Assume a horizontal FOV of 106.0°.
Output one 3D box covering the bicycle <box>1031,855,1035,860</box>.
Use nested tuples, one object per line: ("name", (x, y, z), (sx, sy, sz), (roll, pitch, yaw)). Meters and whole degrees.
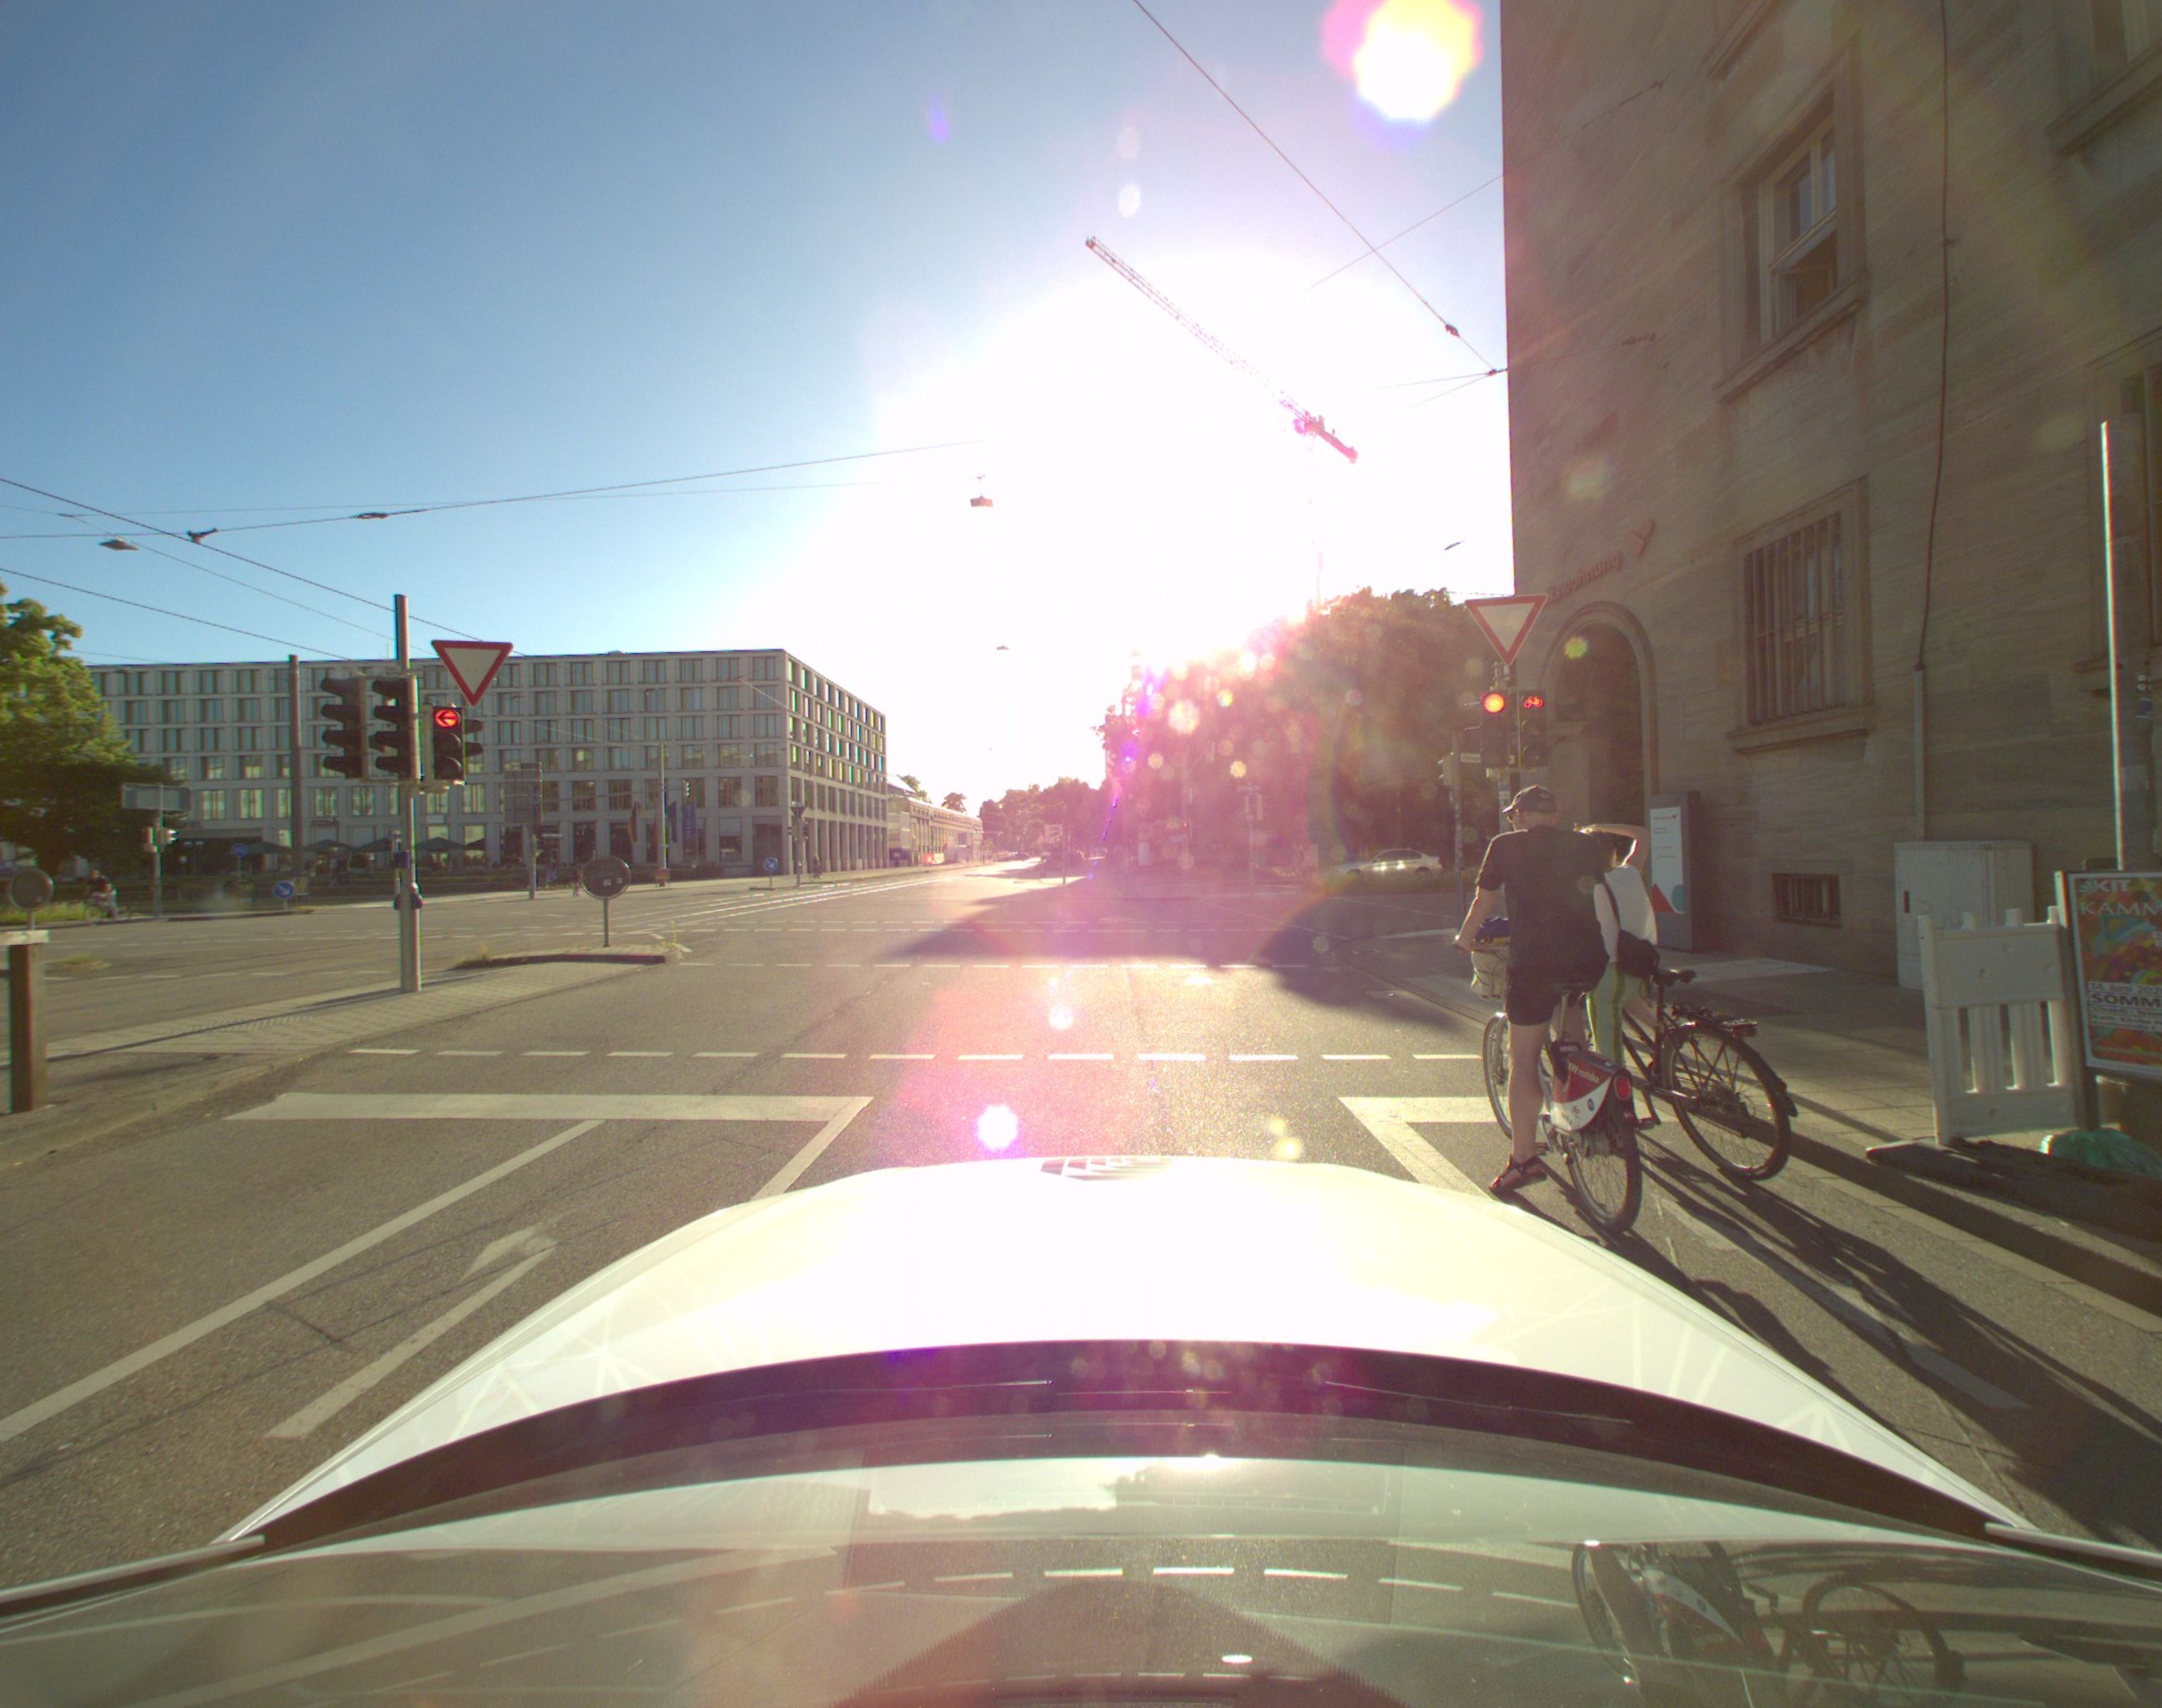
("bicycle", (-11.836, 0.871, 199.964), (0.748, 1.205, 3.108), (0, -1, 1))

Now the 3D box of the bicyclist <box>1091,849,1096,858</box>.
("bicyclist", (2.780, -0.191, 182.766), (0.891, 2.014, 0.746), (0, -1, -10))

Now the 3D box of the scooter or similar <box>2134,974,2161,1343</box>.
("scooter or similar", (3.388, 0.967, 1.916), (0.568, 1.149, 1.279), (-2, 0, 25))

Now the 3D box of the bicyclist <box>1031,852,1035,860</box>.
("bicyclist", (-11.835, 0.509, 199.980), (0.748, 1.920, 1.214), (0, -1, 1))

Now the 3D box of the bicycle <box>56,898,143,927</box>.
("bicycle", (-31.644, 1.880, 26.299), (0.532, 0.787, 1.853), (-2, 0, 2))

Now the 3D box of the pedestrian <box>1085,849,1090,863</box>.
("pedestrian", (0.786, 0.233, 97.789), (0.576, 1.689, 0.584), (-2, 0, -6))

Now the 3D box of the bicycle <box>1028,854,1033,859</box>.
("bicycle", (-12.080, 0.672, 195.215), (0.746, 1.205, 3.114), (0, -1, 7))

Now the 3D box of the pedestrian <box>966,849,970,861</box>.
("pedestrian", (-19.232, 0.160, 138.399), (0.584, 1.889, 0.479), (-1, -1, 9))

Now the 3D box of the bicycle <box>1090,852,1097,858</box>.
("bicycle", (2.796, 0.205, 182.720), (0.890, 1.219, 2.784), (0, -1, -9))

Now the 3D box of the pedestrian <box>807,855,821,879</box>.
("pedestrian", (-18.108, 0.896, 55.313), (0.568, 1.595, 0.746), (-2, 0, 9))

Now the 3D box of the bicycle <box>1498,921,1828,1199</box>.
("bicycle", (2.965, 0.965, 4.401), (0.579, 1.044, 1.748), (-2, 0, 3))

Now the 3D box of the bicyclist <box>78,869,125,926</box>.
("bicyclist", (-31.649, 1.390, 26.319), (0.532, 1.761, 0.771), (-2, 0, 2))

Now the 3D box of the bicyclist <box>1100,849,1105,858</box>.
("bicyclist", (4.781, -0.201, 183.408), (0.891, 2.014, 0.746), (0, -1, -10))

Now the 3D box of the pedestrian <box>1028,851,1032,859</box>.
("pedestrian", (-12.104, 0.208, 195.115), (0.746, 2.063, 1.052), (0, -1, 7))

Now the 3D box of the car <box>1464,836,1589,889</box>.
("car", (17.883, 0.344, 32.854), (3.970, 2.014, 2.002), (0, -1, 3))

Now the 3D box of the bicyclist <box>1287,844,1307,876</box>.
("bicyclist", (9.620, 0.261, 36.294), (0.742, 1.406, 0.704), (-1, -1, 8))

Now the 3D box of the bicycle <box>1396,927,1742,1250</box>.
("bicycle", (2.184, 0.966, 3.955), (0.621, 1.044, 1.747), (-2, 0, 1))

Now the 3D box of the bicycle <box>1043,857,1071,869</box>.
("bicycle", (-1.994, 0.770, 67.432), (2.240, 0.940, 0.653), (-2, 0, -4))

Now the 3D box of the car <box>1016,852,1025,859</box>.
("car", (-14.447, 0.294, 195.323), (1.988, 1.644, 3.998), (-2, 0, -1))

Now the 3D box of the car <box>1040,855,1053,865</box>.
("car", (-6.117, 1.083, 143.341), (1.986, 1.640, 4.001), (0, -1, 2))

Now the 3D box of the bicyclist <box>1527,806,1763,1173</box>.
("bicyclist", (2.956, 0.649, 4.367), (0.581, 1.738, 0.951), (-2, 0, 2))

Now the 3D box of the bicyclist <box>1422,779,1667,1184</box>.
("bicyclist", (2.177, 0.545, 3.945), (0.621, 1.715, 0.913), (-2, 0, 0))

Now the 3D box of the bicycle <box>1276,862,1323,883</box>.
("bicycle", (9.713, 0.824, 36.281), (1.932, 0.889, 0.719), (-1, -1, 8))

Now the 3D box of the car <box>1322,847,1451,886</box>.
("car", (12.436, 0.498, 33.412), (4.559, 1.516, 2.001), (0, -1, 1))

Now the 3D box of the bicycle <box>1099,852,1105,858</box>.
("bicycle", (4.774, 0.197, 183.489), (0.890, 1.219, 2.784), (0, -1, -9))

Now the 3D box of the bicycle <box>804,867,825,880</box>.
("bicycle", (-18.092, 1.286, 55.323), (0.568, 0.823, 1.723), (-2, 0, 10))

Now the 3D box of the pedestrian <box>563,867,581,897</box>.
("pedestrian", (-28.497, 1.567, 45.604), (0.600, 1.681, 0.608), (-2, 0, 9))
